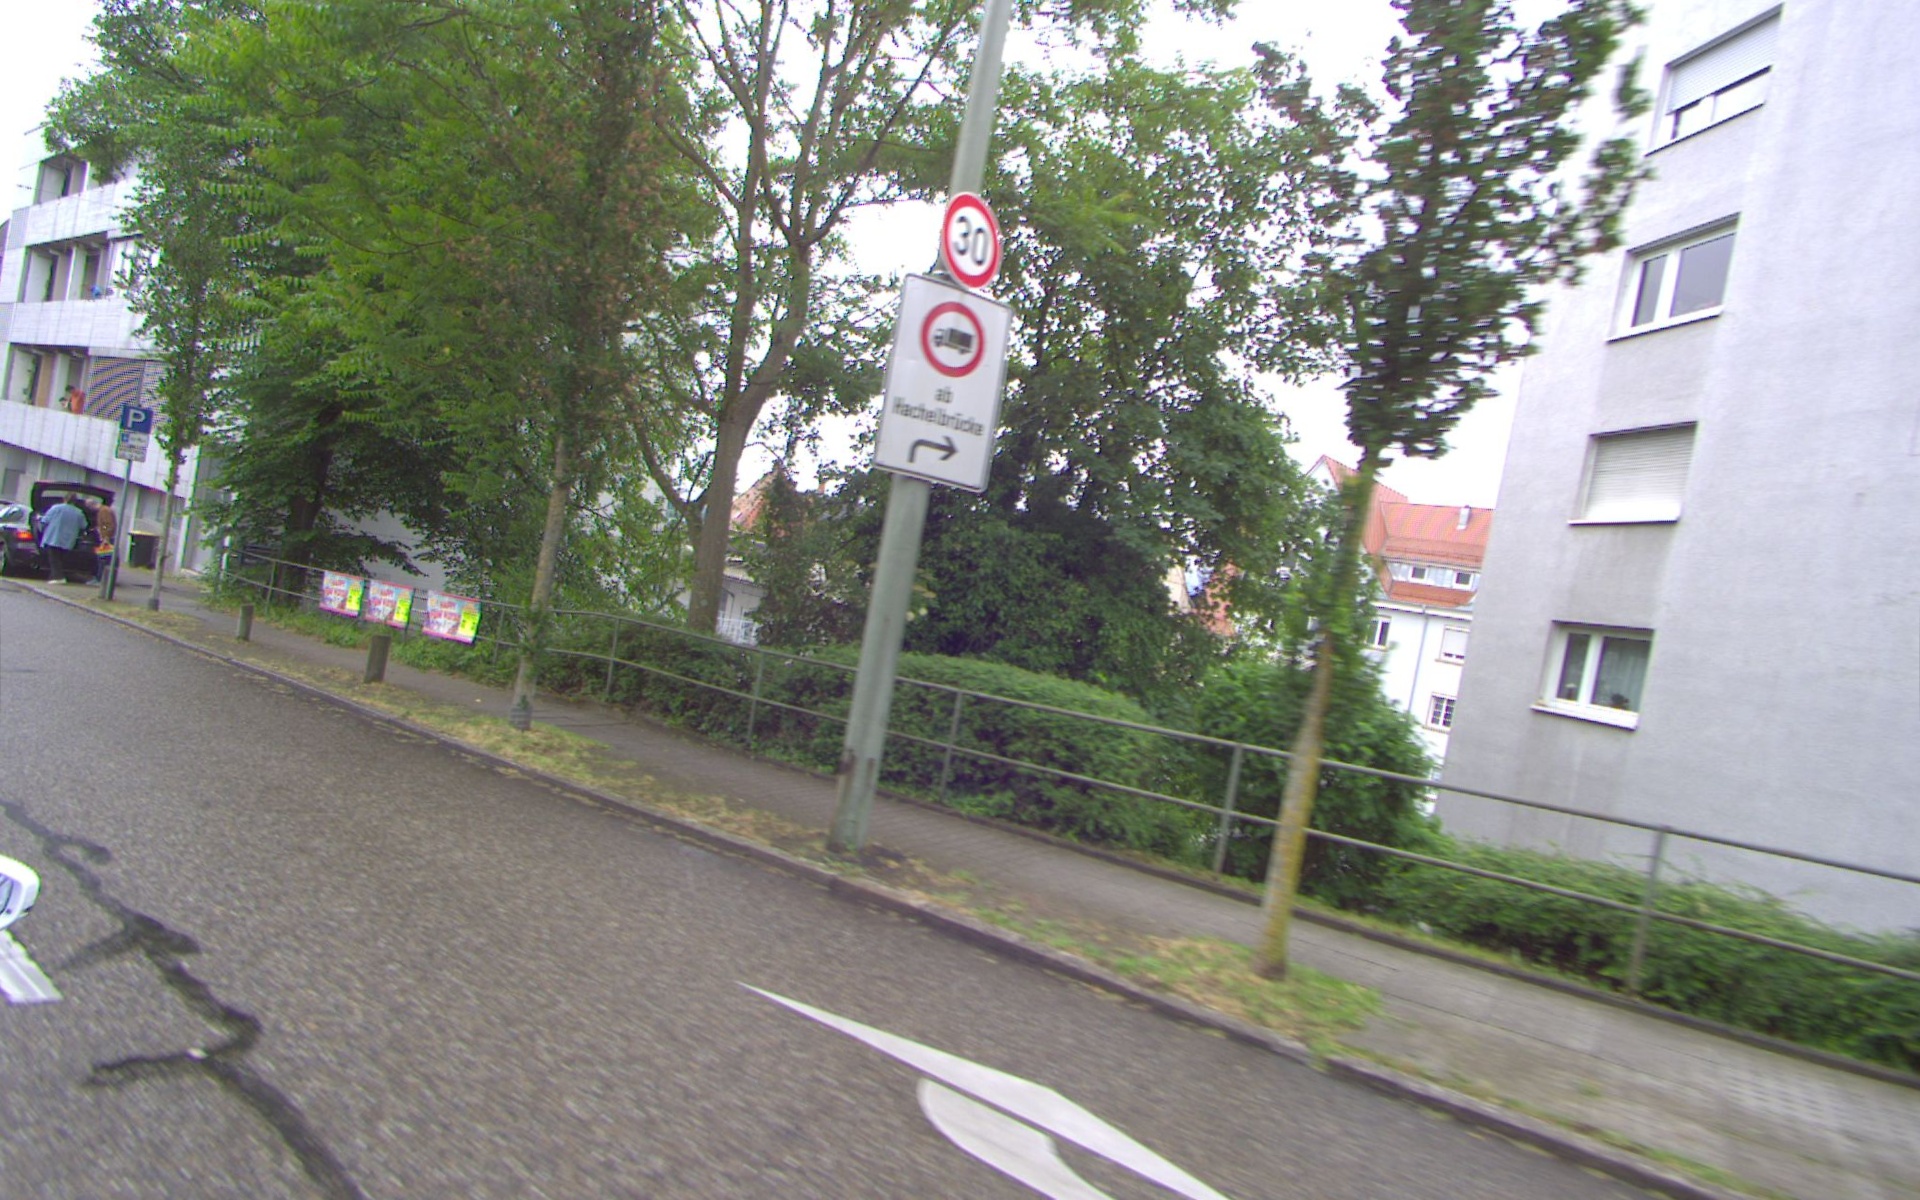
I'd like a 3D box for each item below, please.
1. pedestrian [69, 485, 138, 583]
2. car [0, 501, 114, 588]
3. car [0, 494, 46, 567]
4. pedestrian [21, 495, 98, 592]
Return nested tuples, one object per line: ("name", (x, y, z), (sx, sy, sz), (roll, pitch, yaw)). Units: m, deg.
("pedestrian", (-17.142, -1.299, 20.140), (0.653, 1.861, 0.688), (7, 3, 4))
("car", (-19.275, -1.221, 20.946), (3.937, 1.453, 1.504), (7, 1, 35))
("car", (-23.729, -1.810, 24.309), (3.939, 1.482, 1.681), (9, 1, 37))
("pedestrian", (-17.315, -1.088, 19.354), (0.753, 1.747, 0.734), (6, 3, -13))
